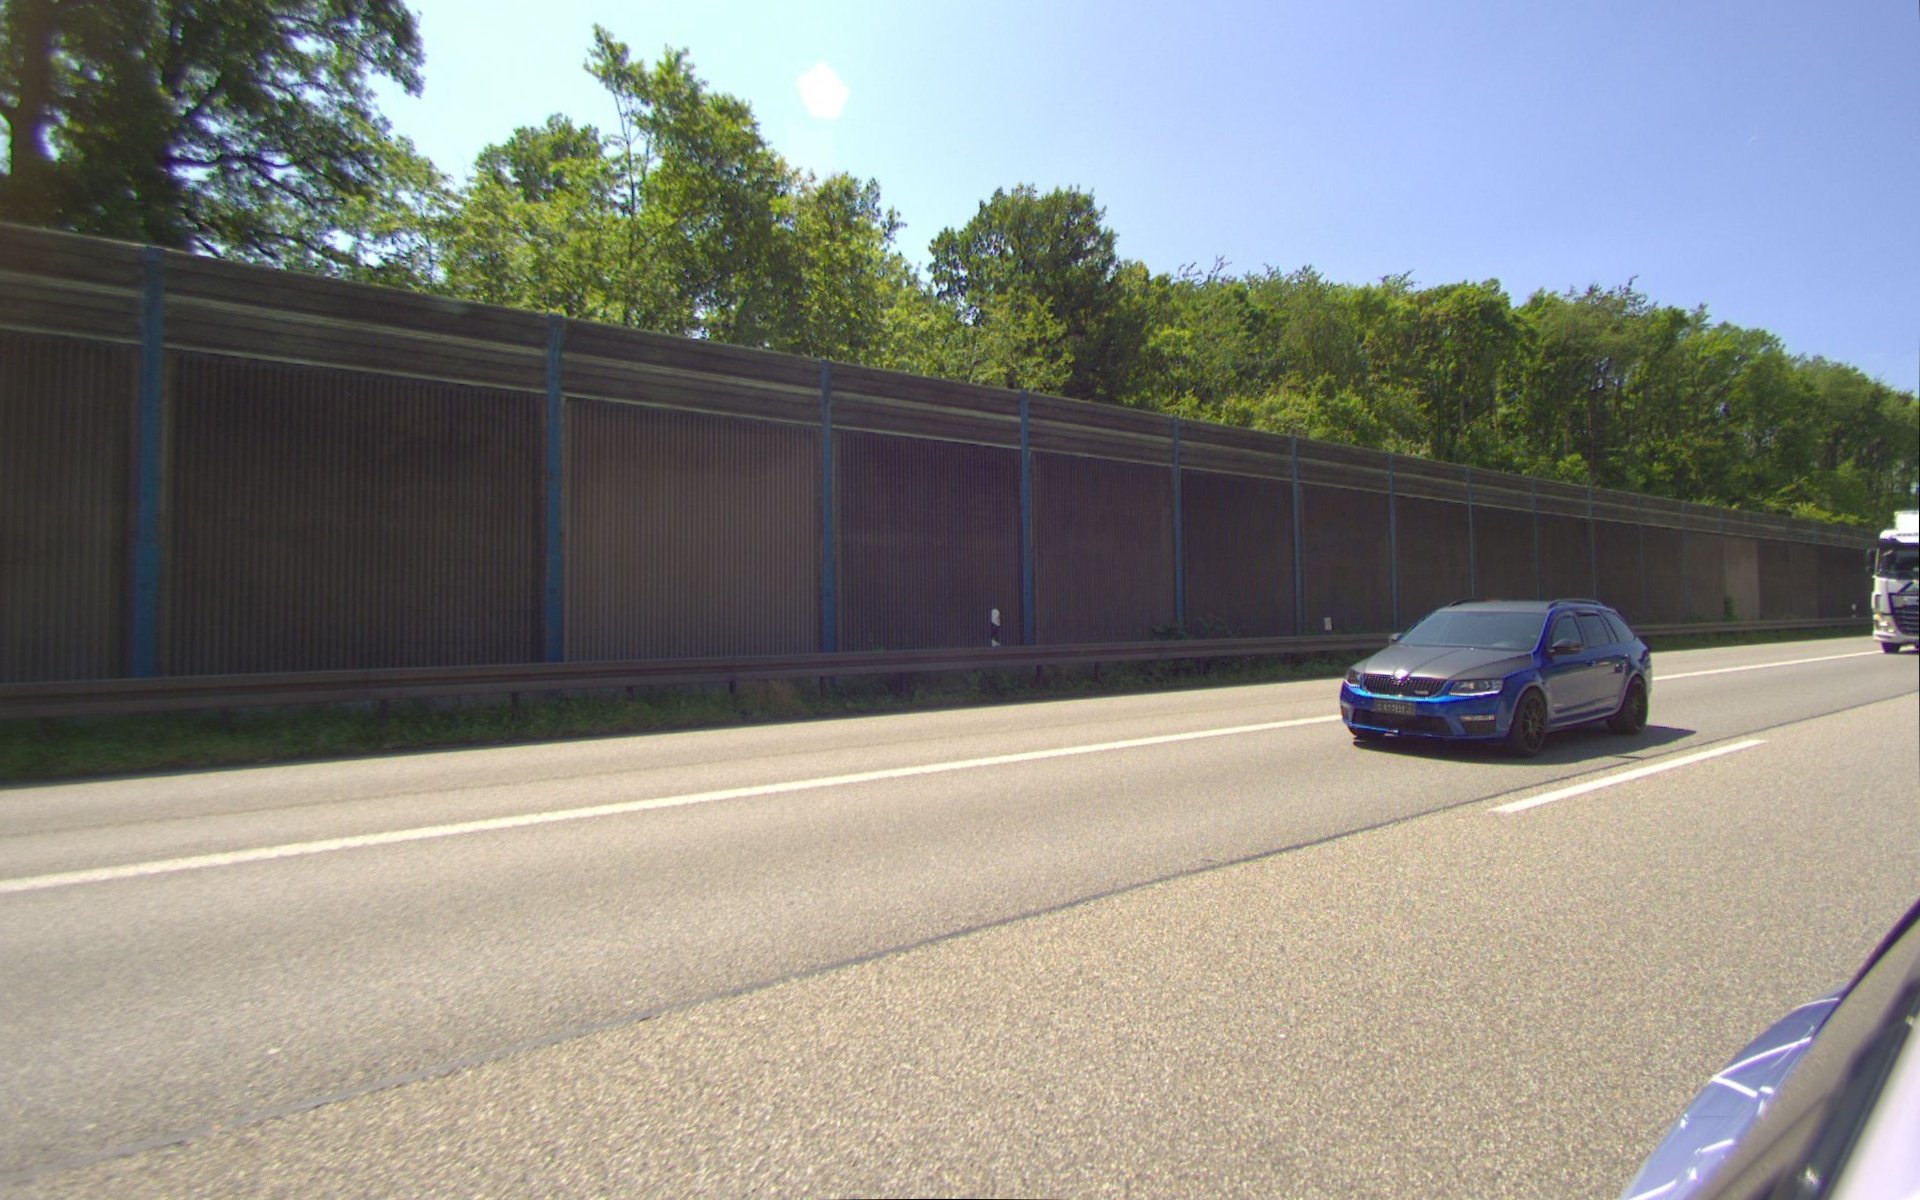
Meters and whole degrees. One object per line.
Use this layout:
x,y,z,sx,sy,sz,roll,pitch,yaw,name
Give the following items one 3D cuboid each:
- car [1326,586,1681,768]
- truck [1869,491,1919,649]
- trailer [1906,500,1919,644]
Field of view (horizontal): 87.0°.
5.902,0.651,10.775,4.399,1.501,1.655,-2,1,-37,car
28.417,-0.815,28.591,5.757,4.259,2.795,0,-1,-35,truck
34.296,-0.824,32.677,12.990,4.259,2.795,0,-1,-35,trailer
